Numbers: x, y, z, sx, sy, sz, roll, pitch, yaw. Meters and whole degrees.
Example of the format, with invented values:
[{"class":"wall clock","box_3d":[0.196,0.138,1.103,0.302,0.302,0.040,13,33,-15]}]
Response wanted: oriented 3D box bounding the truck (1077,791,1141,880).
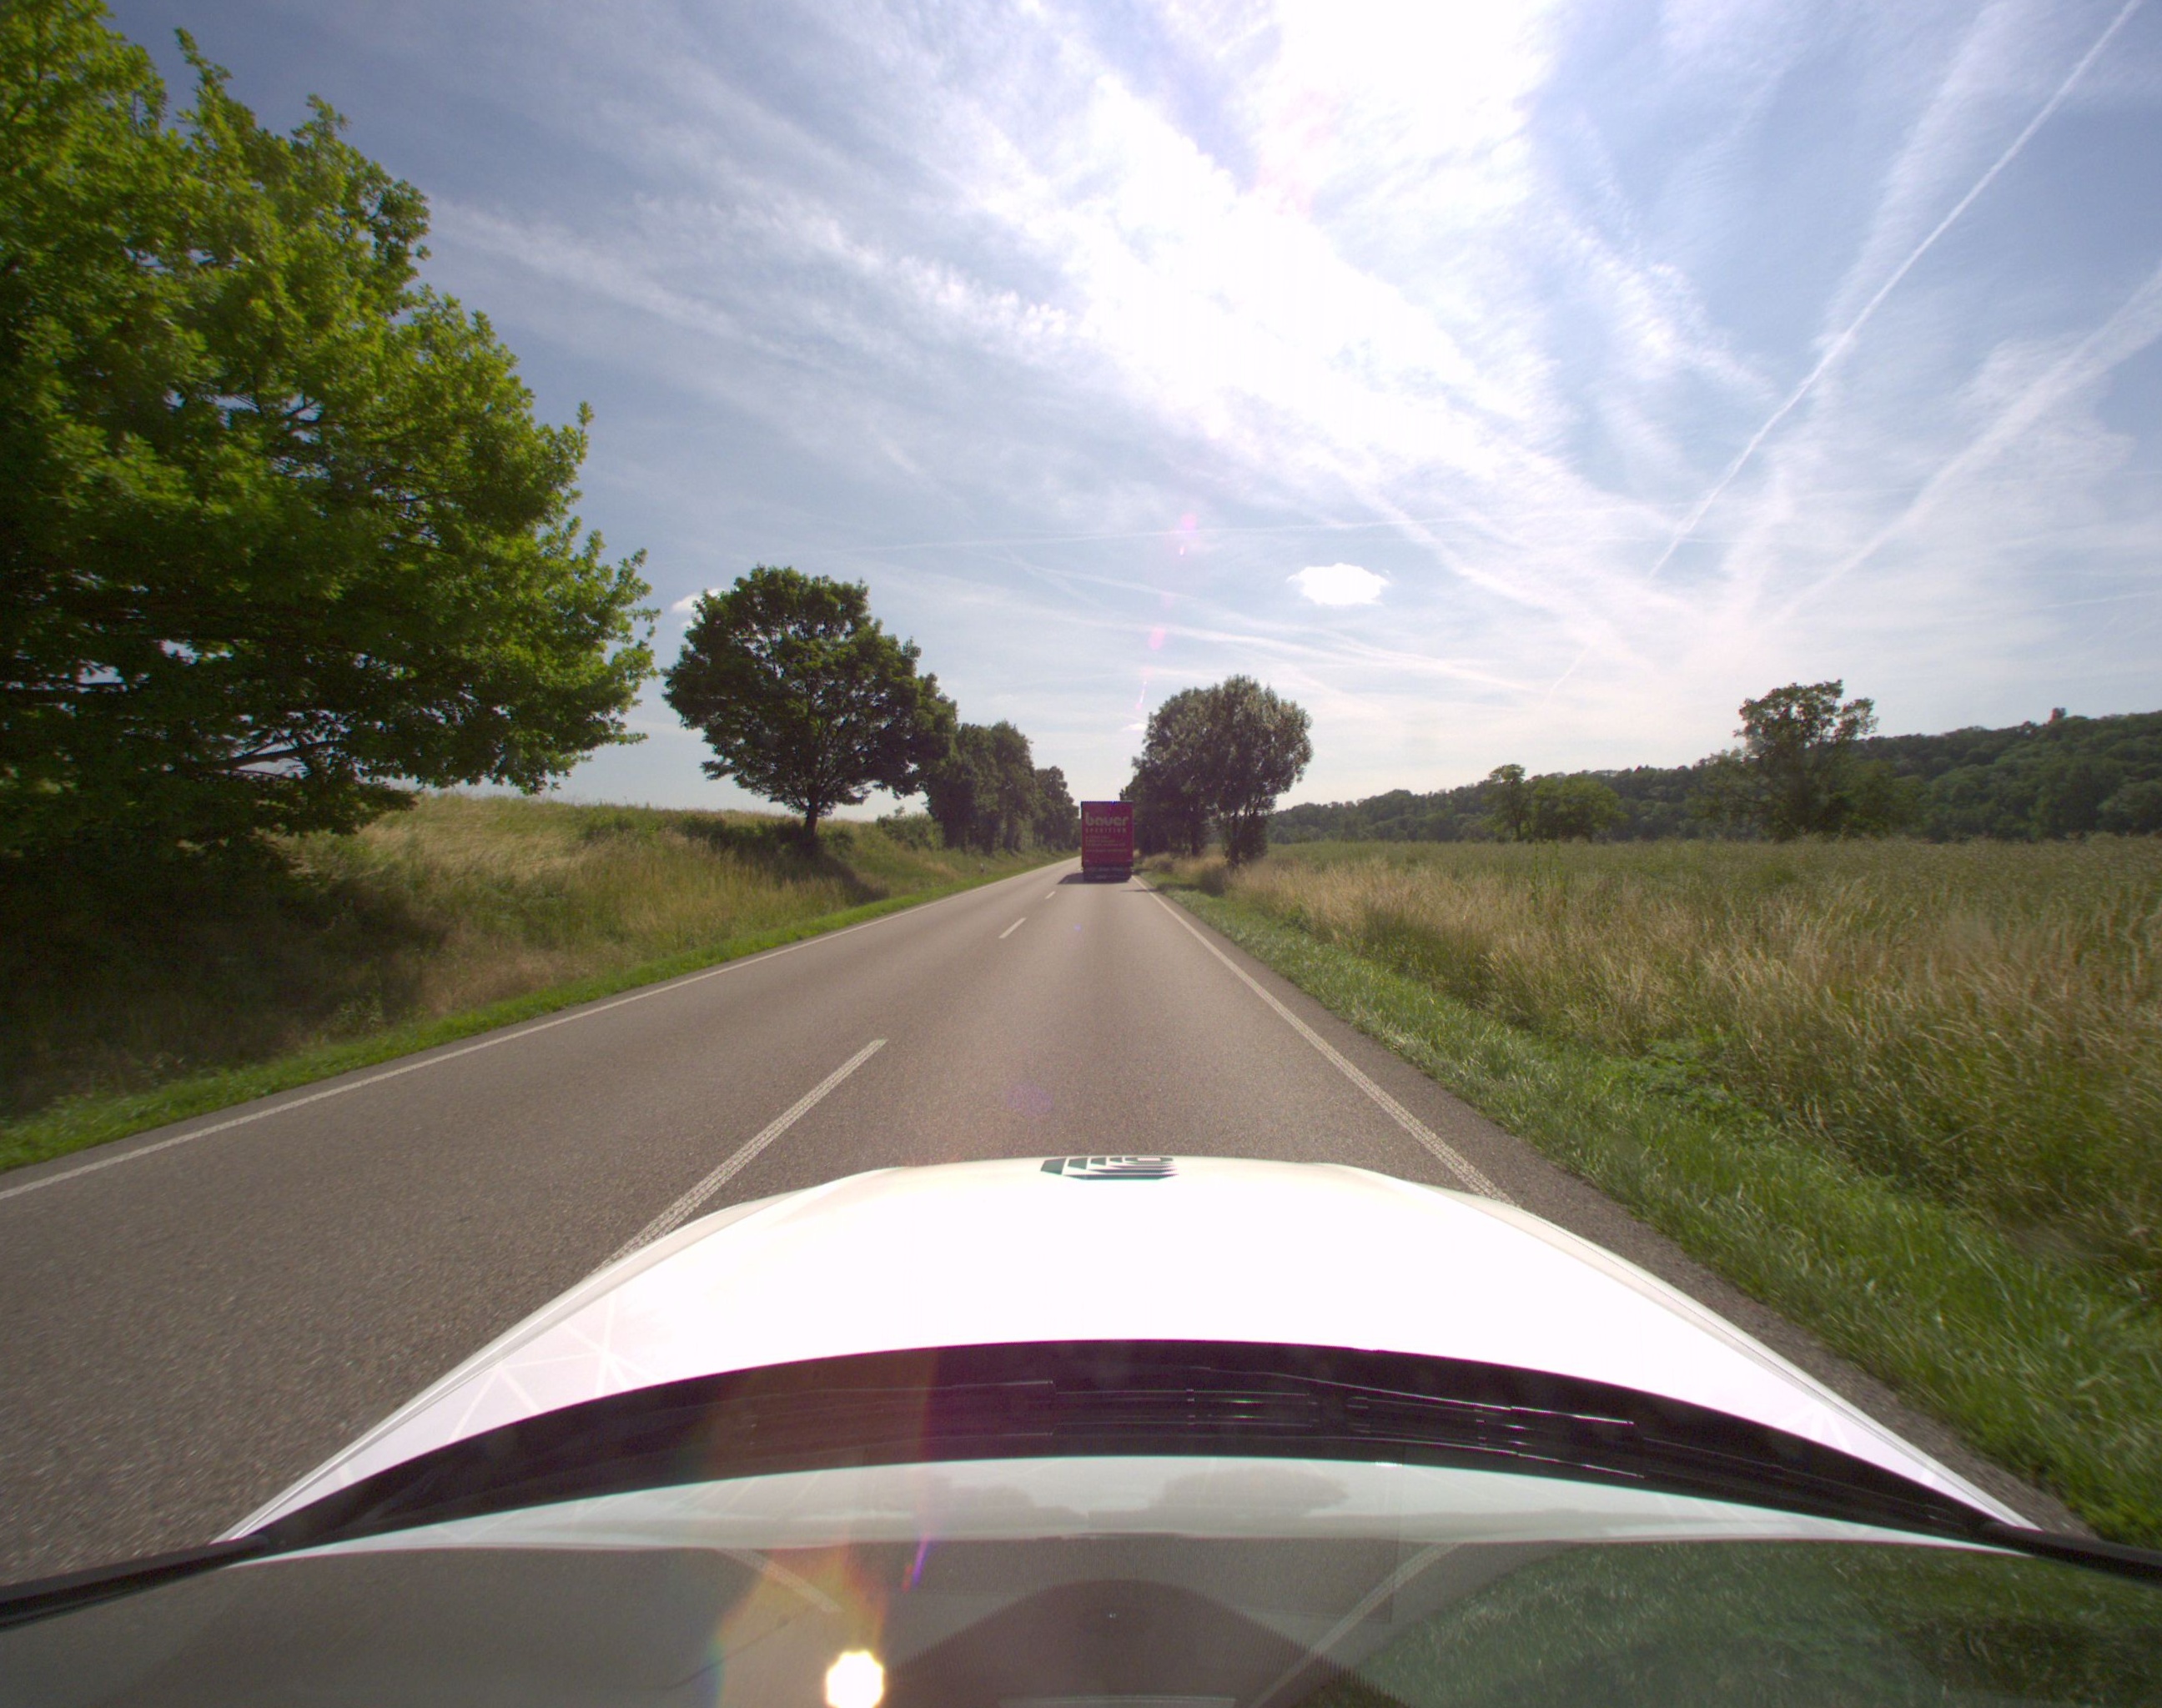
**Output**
[{"class":"truck","box_3d":[1.596,-0.900,43.418,3.081,4.262,8.322,0,0,3]}]
